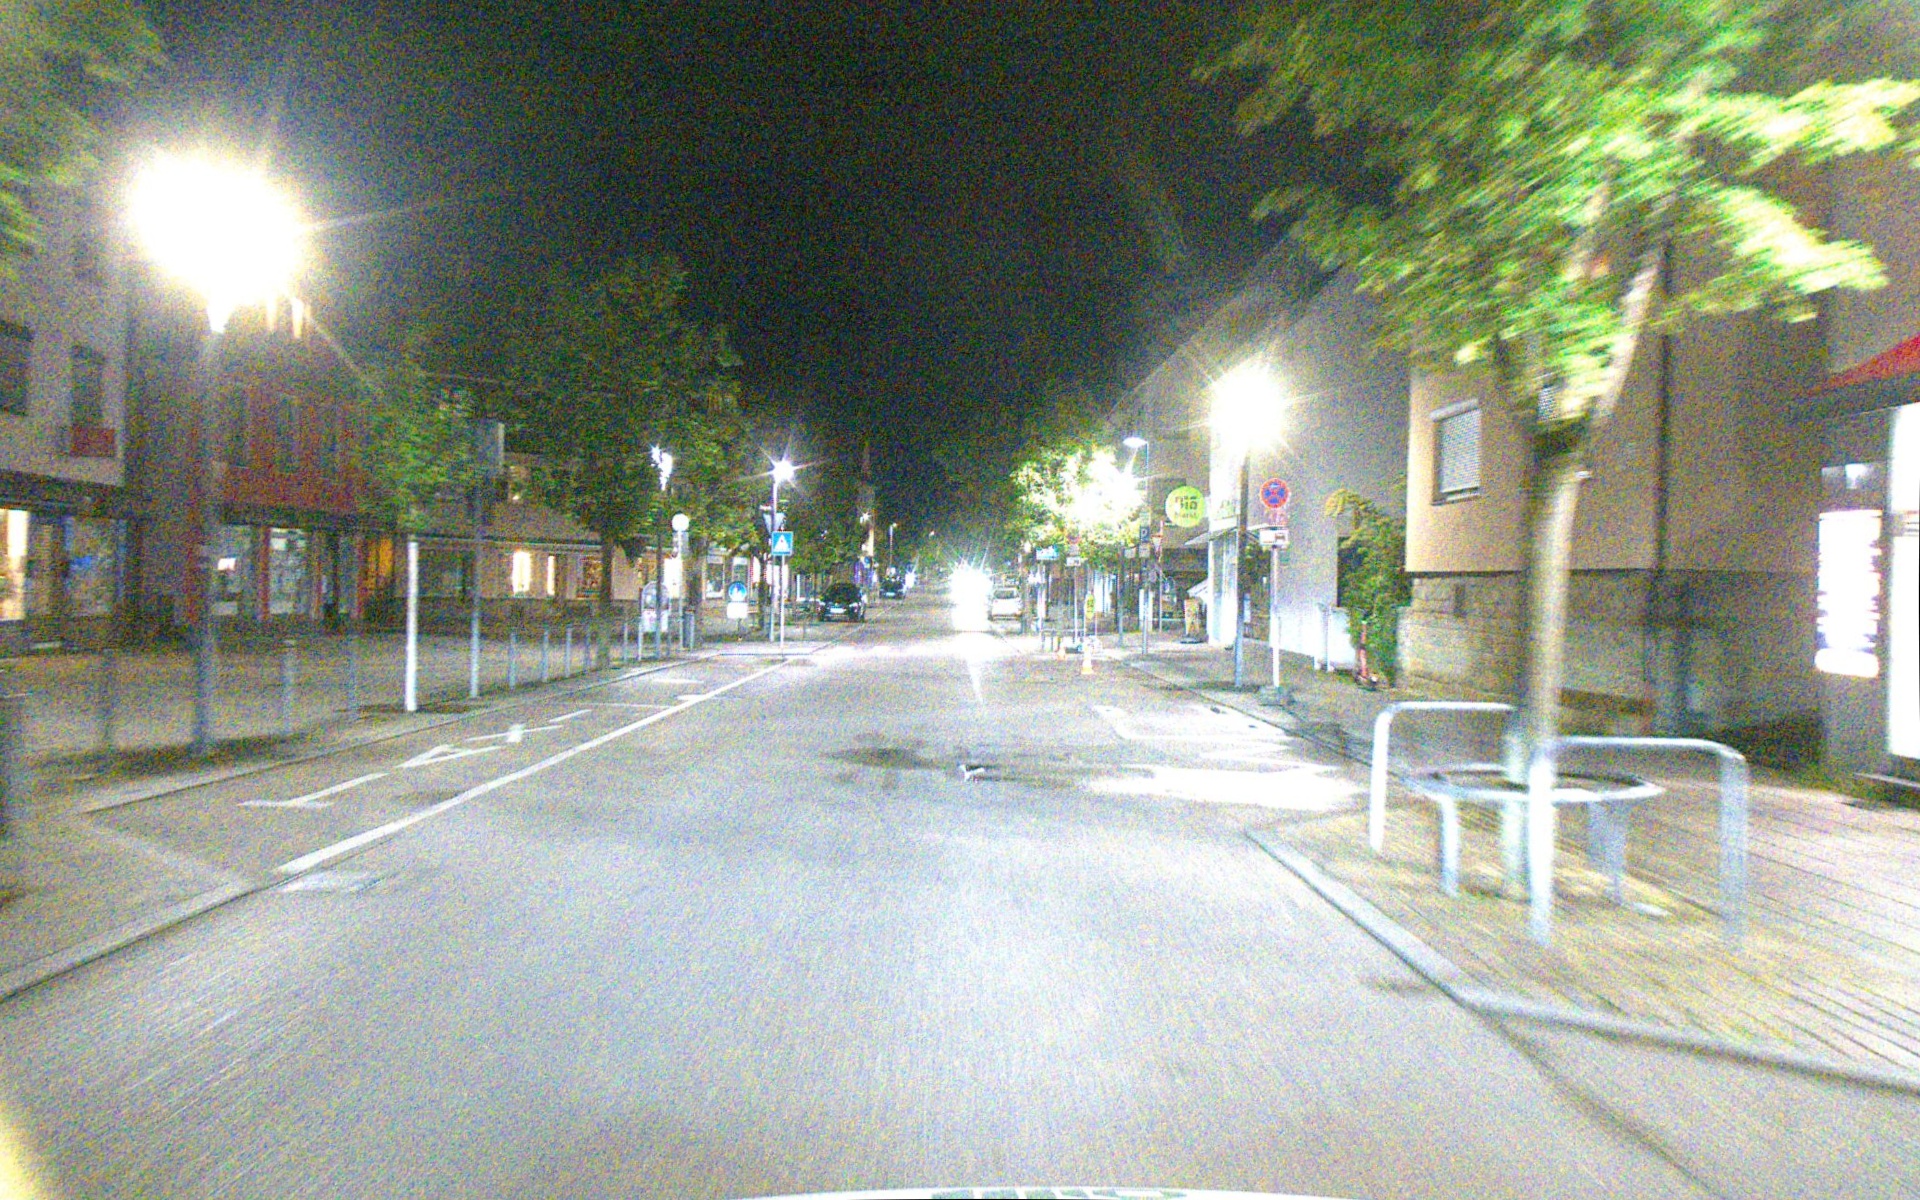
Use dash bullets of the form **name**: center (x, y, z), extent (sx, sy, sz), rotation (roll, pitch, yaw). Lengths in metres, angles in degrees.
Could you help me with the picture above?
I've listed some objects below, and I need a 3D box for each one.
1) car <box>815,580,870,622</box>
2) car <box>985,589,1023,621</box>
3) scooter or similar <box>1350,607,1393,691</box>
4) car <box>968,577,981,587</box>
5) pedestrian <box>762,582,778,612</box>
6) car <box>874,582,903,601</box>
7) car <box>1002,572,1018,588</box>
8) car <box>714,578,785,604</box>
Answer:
- **car**: center (-5.246, 0.017, 74.294), extent (1.976, 1.720, 5.003), rotation (2, 1, 1)
- **car**: center (2.092, 0.232, 79.917), extent (1.641, 1.485, 3.674), rotation (0, 1, -2)
- **scooter or similar**: center (6.497, 0.760, 26.129), extent (0.365, 1.299, 1.305), rotation (0, -1, 1)
- **car**: center (1.997, -2.472, 225.399), extent (1.687, 1.268, 4.238), rotation (0, 1, 1)
- **pedestrian**: center (-10.791, -0.165, 93.933), extent (0.753, 1.684, 0.817), rotation (0, 2, 1)
- **car**: center (-5.545, -0.658, 128.296), extent (1.874, 1.394, 4.459), rotation (0, 1, 2)
- **car**: center (5.453, -2.200, 181.812), extent (1.738, 1.681, 4.365), rotation (0, 1, 2)
- **car**: center (-13.293, -0.555, 104.462), extent (4.080, 1.463, 1.842), rotation (-3, 0, 3)
